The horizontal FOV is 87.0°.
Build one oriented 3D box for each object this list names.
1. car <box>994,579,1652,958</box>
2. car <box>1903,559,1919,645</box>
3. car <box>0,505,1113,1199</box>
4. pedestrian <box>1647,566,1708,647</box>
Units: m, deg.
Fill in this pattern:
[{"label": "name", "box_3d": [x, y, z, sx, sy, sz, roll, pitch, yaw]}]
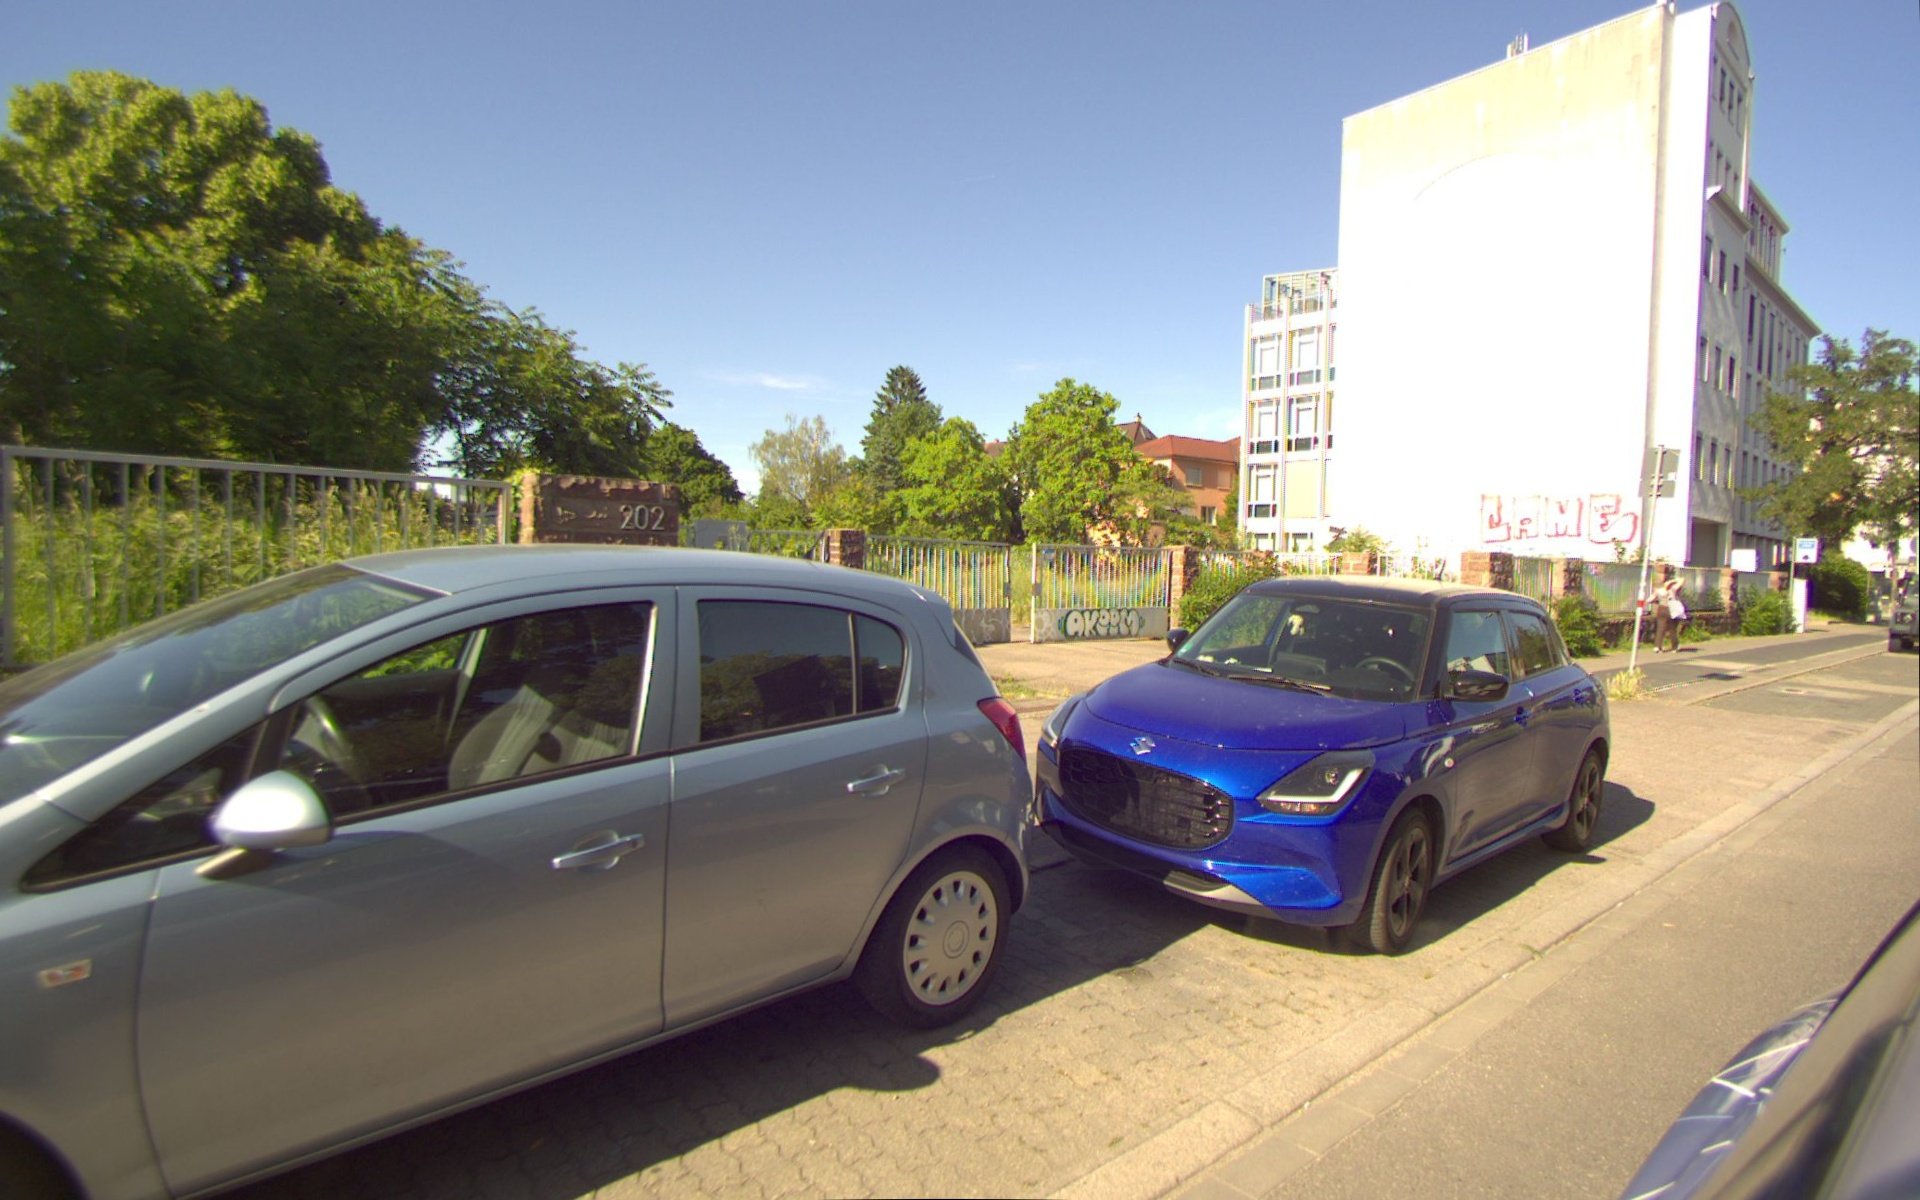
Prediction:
[{"label": "car", "box_3d": [2.156, 0.564, 5.429, 3.834, 1.196, 1.671, 0, 6, -42]}, {"label": "car", "box_3d": [24.871, 0.043, 25.054, 4.693, 2.038, 1.664, -1, 4, -41]}, {"label": "car", "box_3d": [-1.464, 0.542, 2.882, 3.921, 1.477, 1.670, -1, 6, -44]}, {"label": "pedestrian", "box_3d": [14.924, 0.123, 21.042, 0.881, 1.602, 0.745, 0, 5, -41]}]
